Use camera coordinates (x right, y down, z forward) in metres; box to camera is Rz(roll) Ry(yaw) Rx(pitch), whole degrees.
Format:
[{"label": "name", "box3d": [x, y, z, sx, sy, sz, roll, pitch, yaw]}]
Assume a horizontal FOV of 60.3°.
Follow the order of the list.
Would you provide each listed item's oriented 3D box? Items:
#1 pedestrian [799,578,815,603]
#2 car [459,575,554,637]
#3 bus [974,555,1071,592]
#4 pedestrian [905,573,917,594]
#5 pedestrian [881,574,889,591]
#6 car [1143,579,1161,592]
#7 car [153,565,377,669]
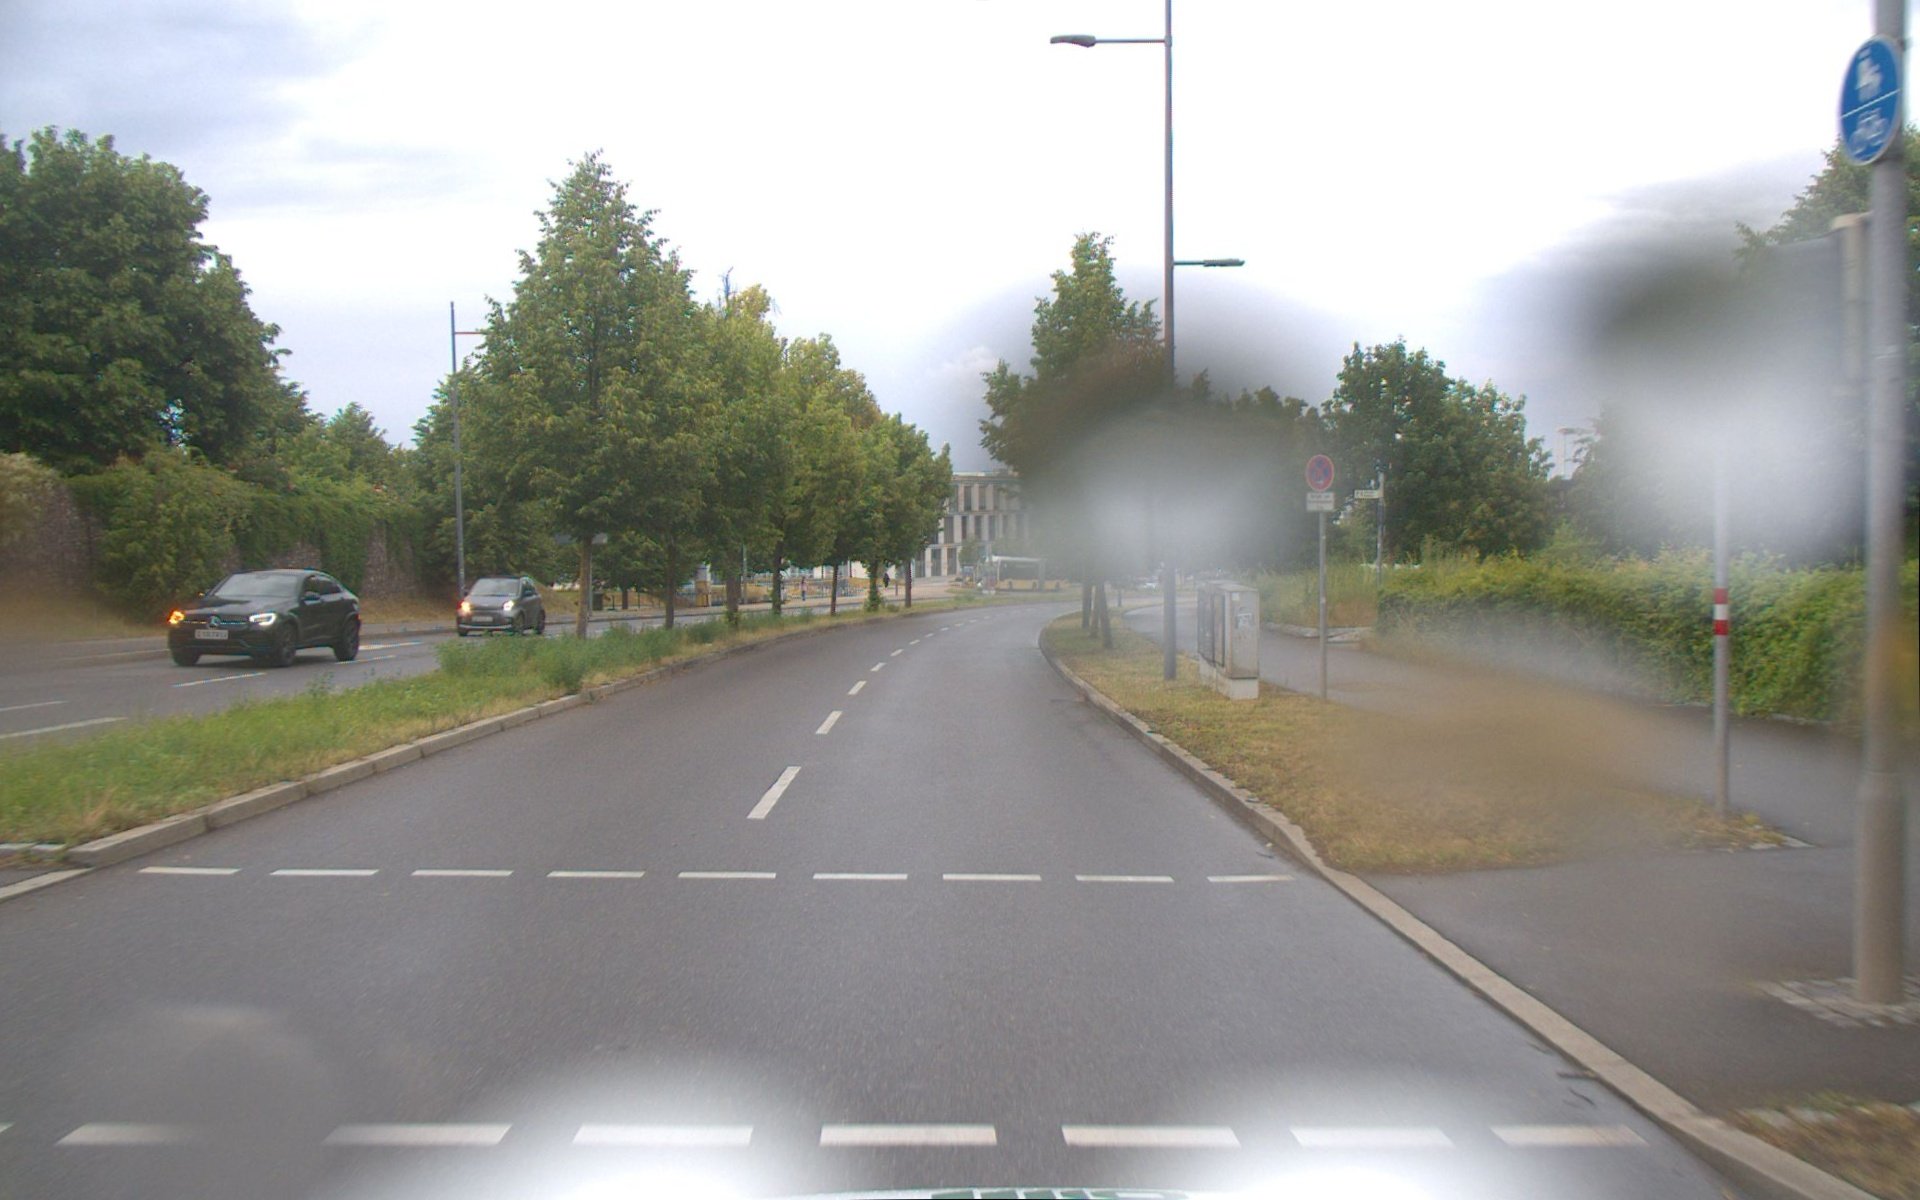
[{"label": "pedestrian", "box3d": [-10.288, -0.630, 111.028, 0.796, 1.649, 0.936, 0, -1, 12]}, {"label": "car", "box3d": [-11.964, 0.131, 43.804, 1.651, 1.566, 2.917, 0, 1, 1]}, {"label": "bus", "box3d": [6.679, -2.605, 169.893, 2.730, 3.416, 18.206, 0, -1, 26]}, {"label": "pedestrian", "box3d": [-3.802, -1.272, 128.220, 0.817, 1.601, 0.718, 0, -1, -5]}, {"label": "pedestrian", "box3d": [-6.829, -1.560, 150.236, 0.668, 1.551, 0.719, 0, -1, 1]}, {"label": "car", "box3d": [24.221, -1.839, 208.572, 1.449, 1.520, 2.528, 0, 0, 25]}, {"label": "car", "box3d": [-12.017, 0.264, 28.995, 1.842, 1.623, 4.767, 1, 0, 1]}]
